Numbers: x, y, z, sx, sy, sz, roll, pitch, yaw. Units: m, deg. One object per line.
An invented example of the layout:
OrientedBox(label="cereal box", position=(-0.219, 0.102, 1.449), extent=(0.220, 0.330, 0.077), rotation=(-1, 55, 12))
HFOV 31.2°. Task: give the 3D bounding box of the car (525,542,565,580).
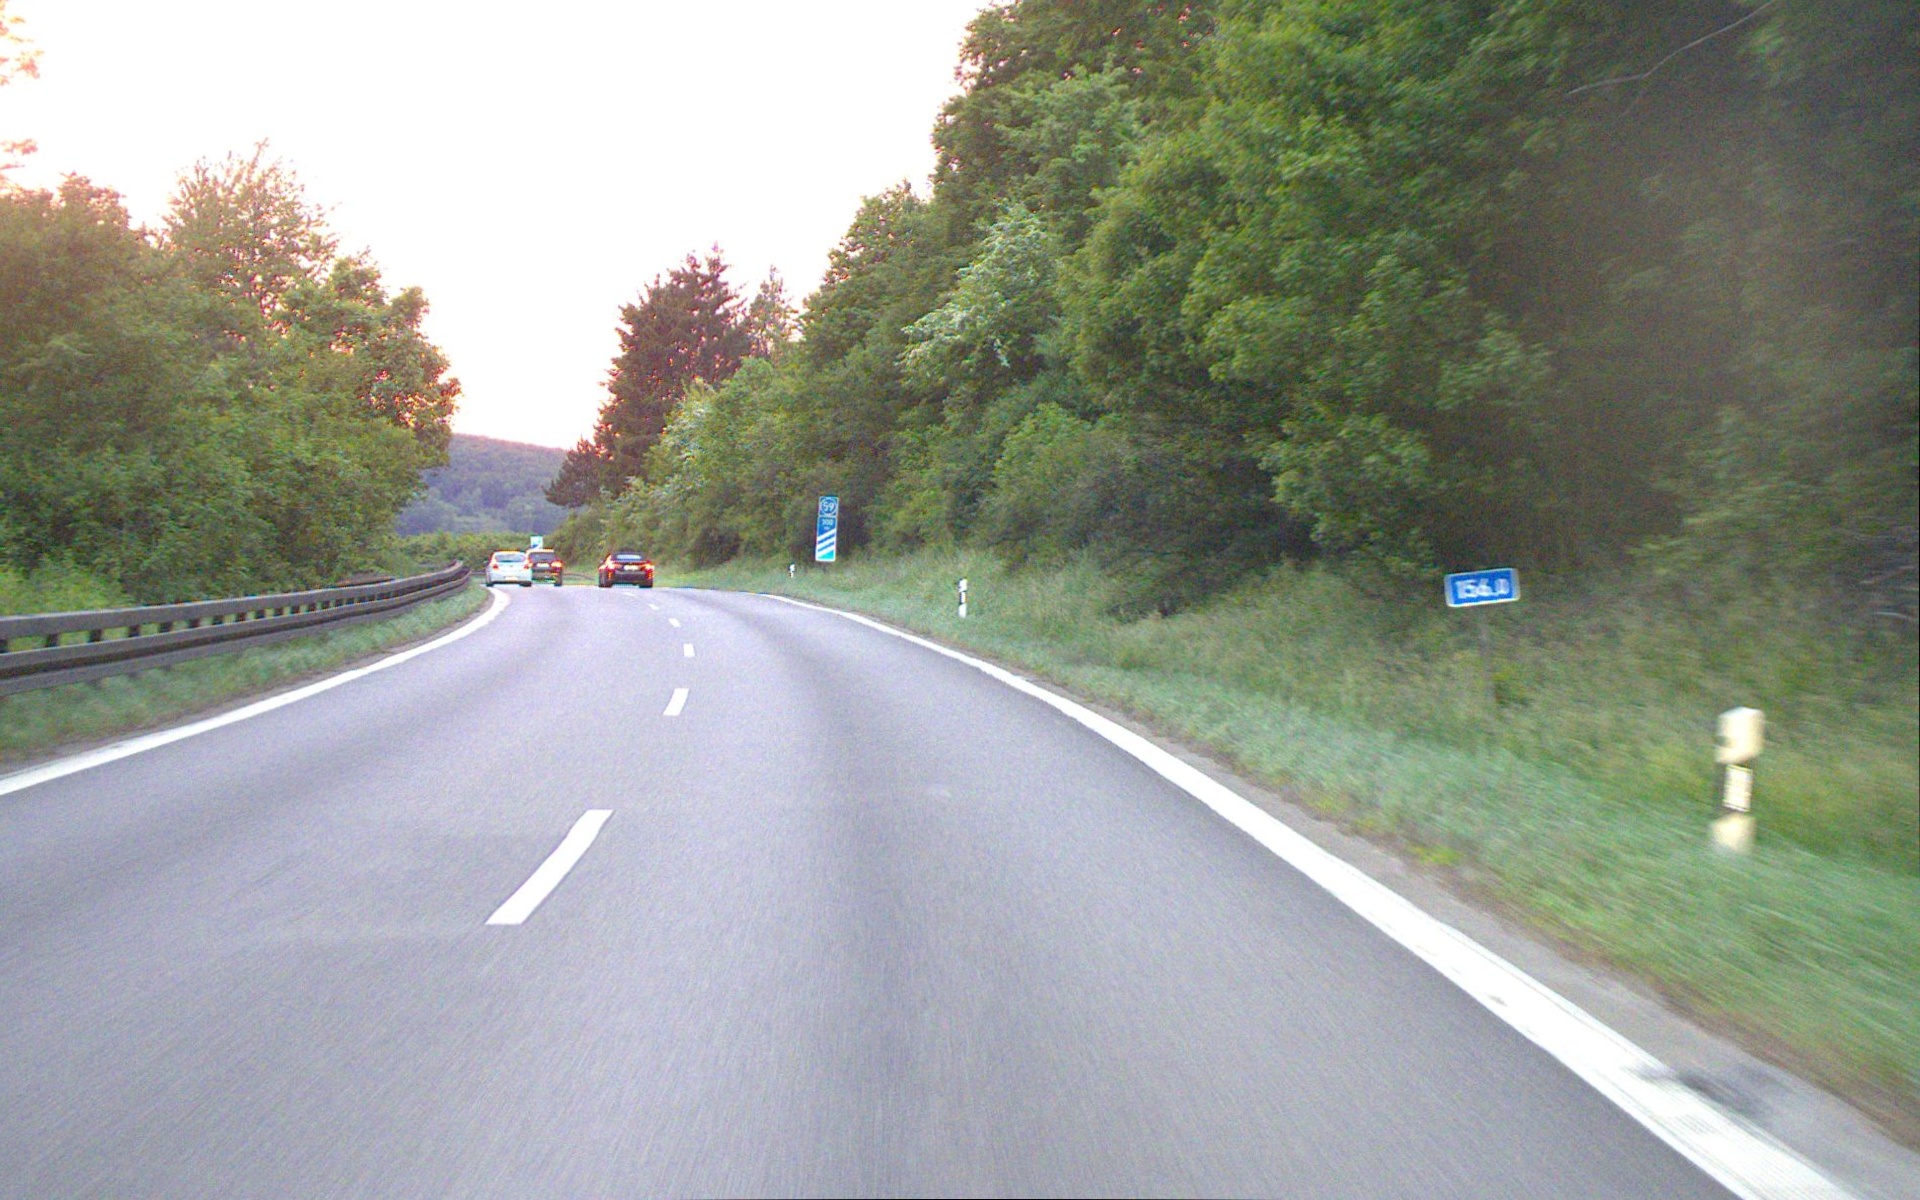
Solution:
OrientedBox(label="car", position=(-18.644, -1.743, 154.573), extent=(1.718, 1.629, 4.001), rotation=(-2, 0, -7))

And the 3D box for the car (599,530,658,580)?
OrientedBox(label="car", position=(-13.146, -1.761, 136.236), extent=(1.993, 1.640, 4.000), rotation=(4, -3, -9))

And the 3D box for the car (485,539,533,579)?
OrientedBox(label="car", position=(-18.785, -1.708, 143.266), extent=(1.718, 1.496, 4.000), rotation=(2, -1, -5))
